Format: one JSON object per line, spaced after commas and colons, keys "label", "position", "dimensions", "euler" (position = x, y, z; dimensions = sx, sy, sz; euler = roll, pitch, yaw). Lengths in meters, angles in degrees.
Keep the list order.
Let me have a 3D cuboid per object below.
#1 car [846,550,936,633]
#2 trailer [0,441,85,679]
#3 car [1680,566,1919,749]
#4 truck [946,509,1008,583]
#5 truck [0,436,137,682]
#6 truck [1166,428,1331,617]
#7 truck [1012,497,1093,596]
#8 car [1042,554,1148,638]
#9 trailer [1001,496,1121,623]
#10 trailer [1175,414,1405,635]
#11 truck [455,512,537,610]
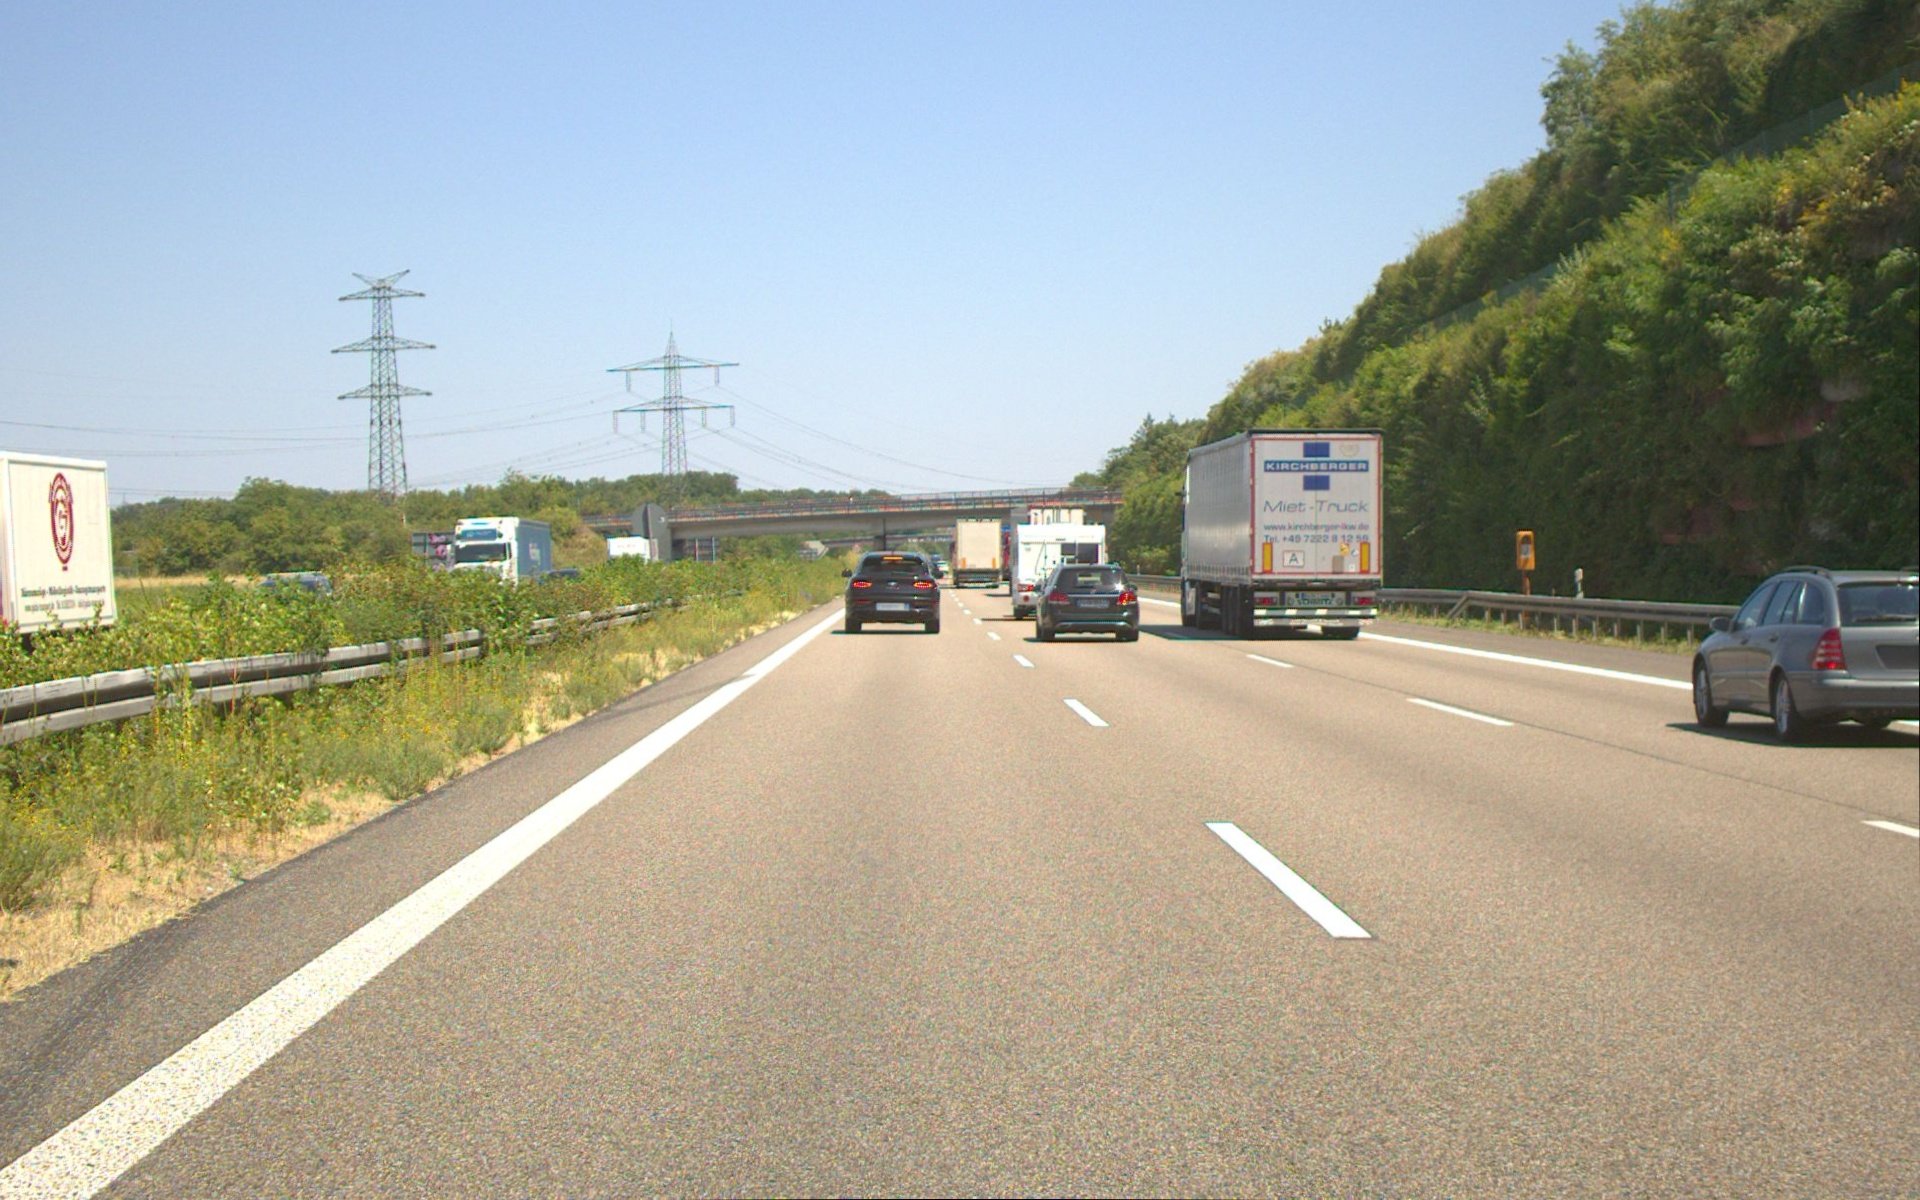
{"label": "car", "position": [-1.477, -0.203, 73.104], "dimensions": [1.830, 1.665, 4.000], "euler": [-1, 1, -1]}
{"label": "trailer", "position": [-18.943, -0.734, 62.216], "dimensions": [3.193, 4.291, 12.272], "euler": [1, 1, -1]}
{"label": "car", "position": [7.511, 0.434, 29.318], "dimensions": [1.684, 1.423, 4.454], "euler": [0, 1, -2]}
{"label": "truck", "position": [0.958, -3.210, 205.995], "dimensions": [3.409, 4.265, 10.608], "euler": [-1, 1, -1]}
{"label": "truck", "position": [-14.825, -0.556, 51.285], "dimensions": [2.936, 3.401, 9.367], "euler": [-3, 1, -2]}
{"label": "truck", "position": [6.535, -1.747, 78.594], "dimensions": [3.135, 4.127, 5.504], "euler": [-1, 1, -1]}
{"label": "truck", "position": [4.146, -2.430, 156.359], "dimensions": [3.119, 4.265, 11.934], "euler": [-1, 1, -1]}
{"label": "car", "position": [2.562, -0.098, 65.973], "dimensions": [1.830, 1.520, 4.000], "euler": [-1, 1, 0]}
{"label": "trailer", "position": [2.645, -1.098, 93.072], "dimensions": [2.610, 3.202, 9.953], "euler": [-1, 1, -2]}
{"label": "trailer", "position": [6.678, -1.520, 71.873], "dimensions": [3.183, 4.107, 13.432], "euler": [-1, 1, -1]}
{"label": "truck", "position": [-19.775, -1.666, 146.762], "dimensions": [2.696, 4.055, 5.802], "euler": [-1, 1, -1]}
